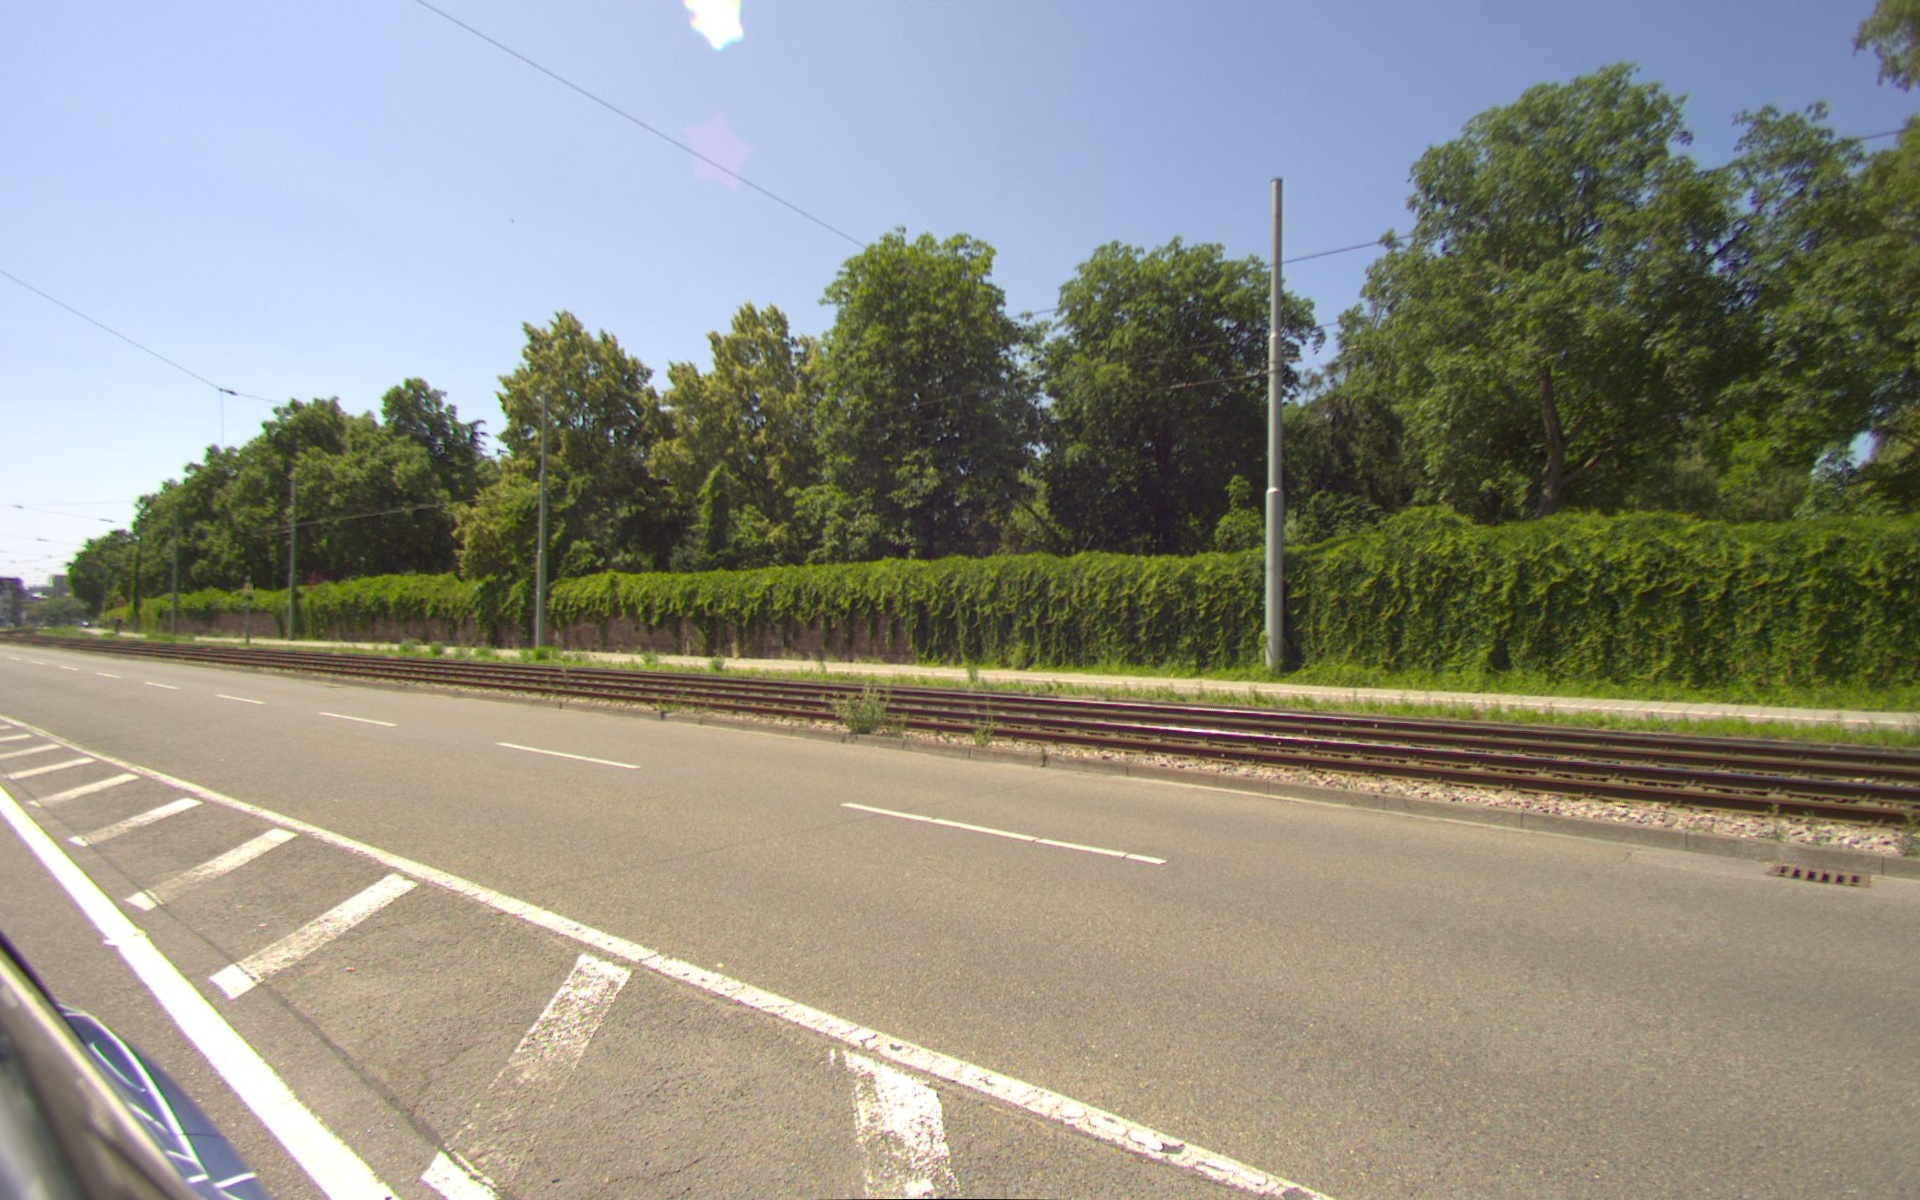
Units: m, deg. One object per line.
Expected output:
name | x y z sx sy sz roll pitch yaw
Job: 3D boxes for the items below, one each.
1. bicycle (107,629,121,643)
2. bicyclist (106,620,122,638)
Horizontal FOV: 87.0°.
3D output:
bicycle | -71.814 3.041 85.894 0.818 1.165 2.688 1 -2 -42
bicyclist | -71.784 2.480 85.854 0.982 1.497 1.001 1 -2 -43
